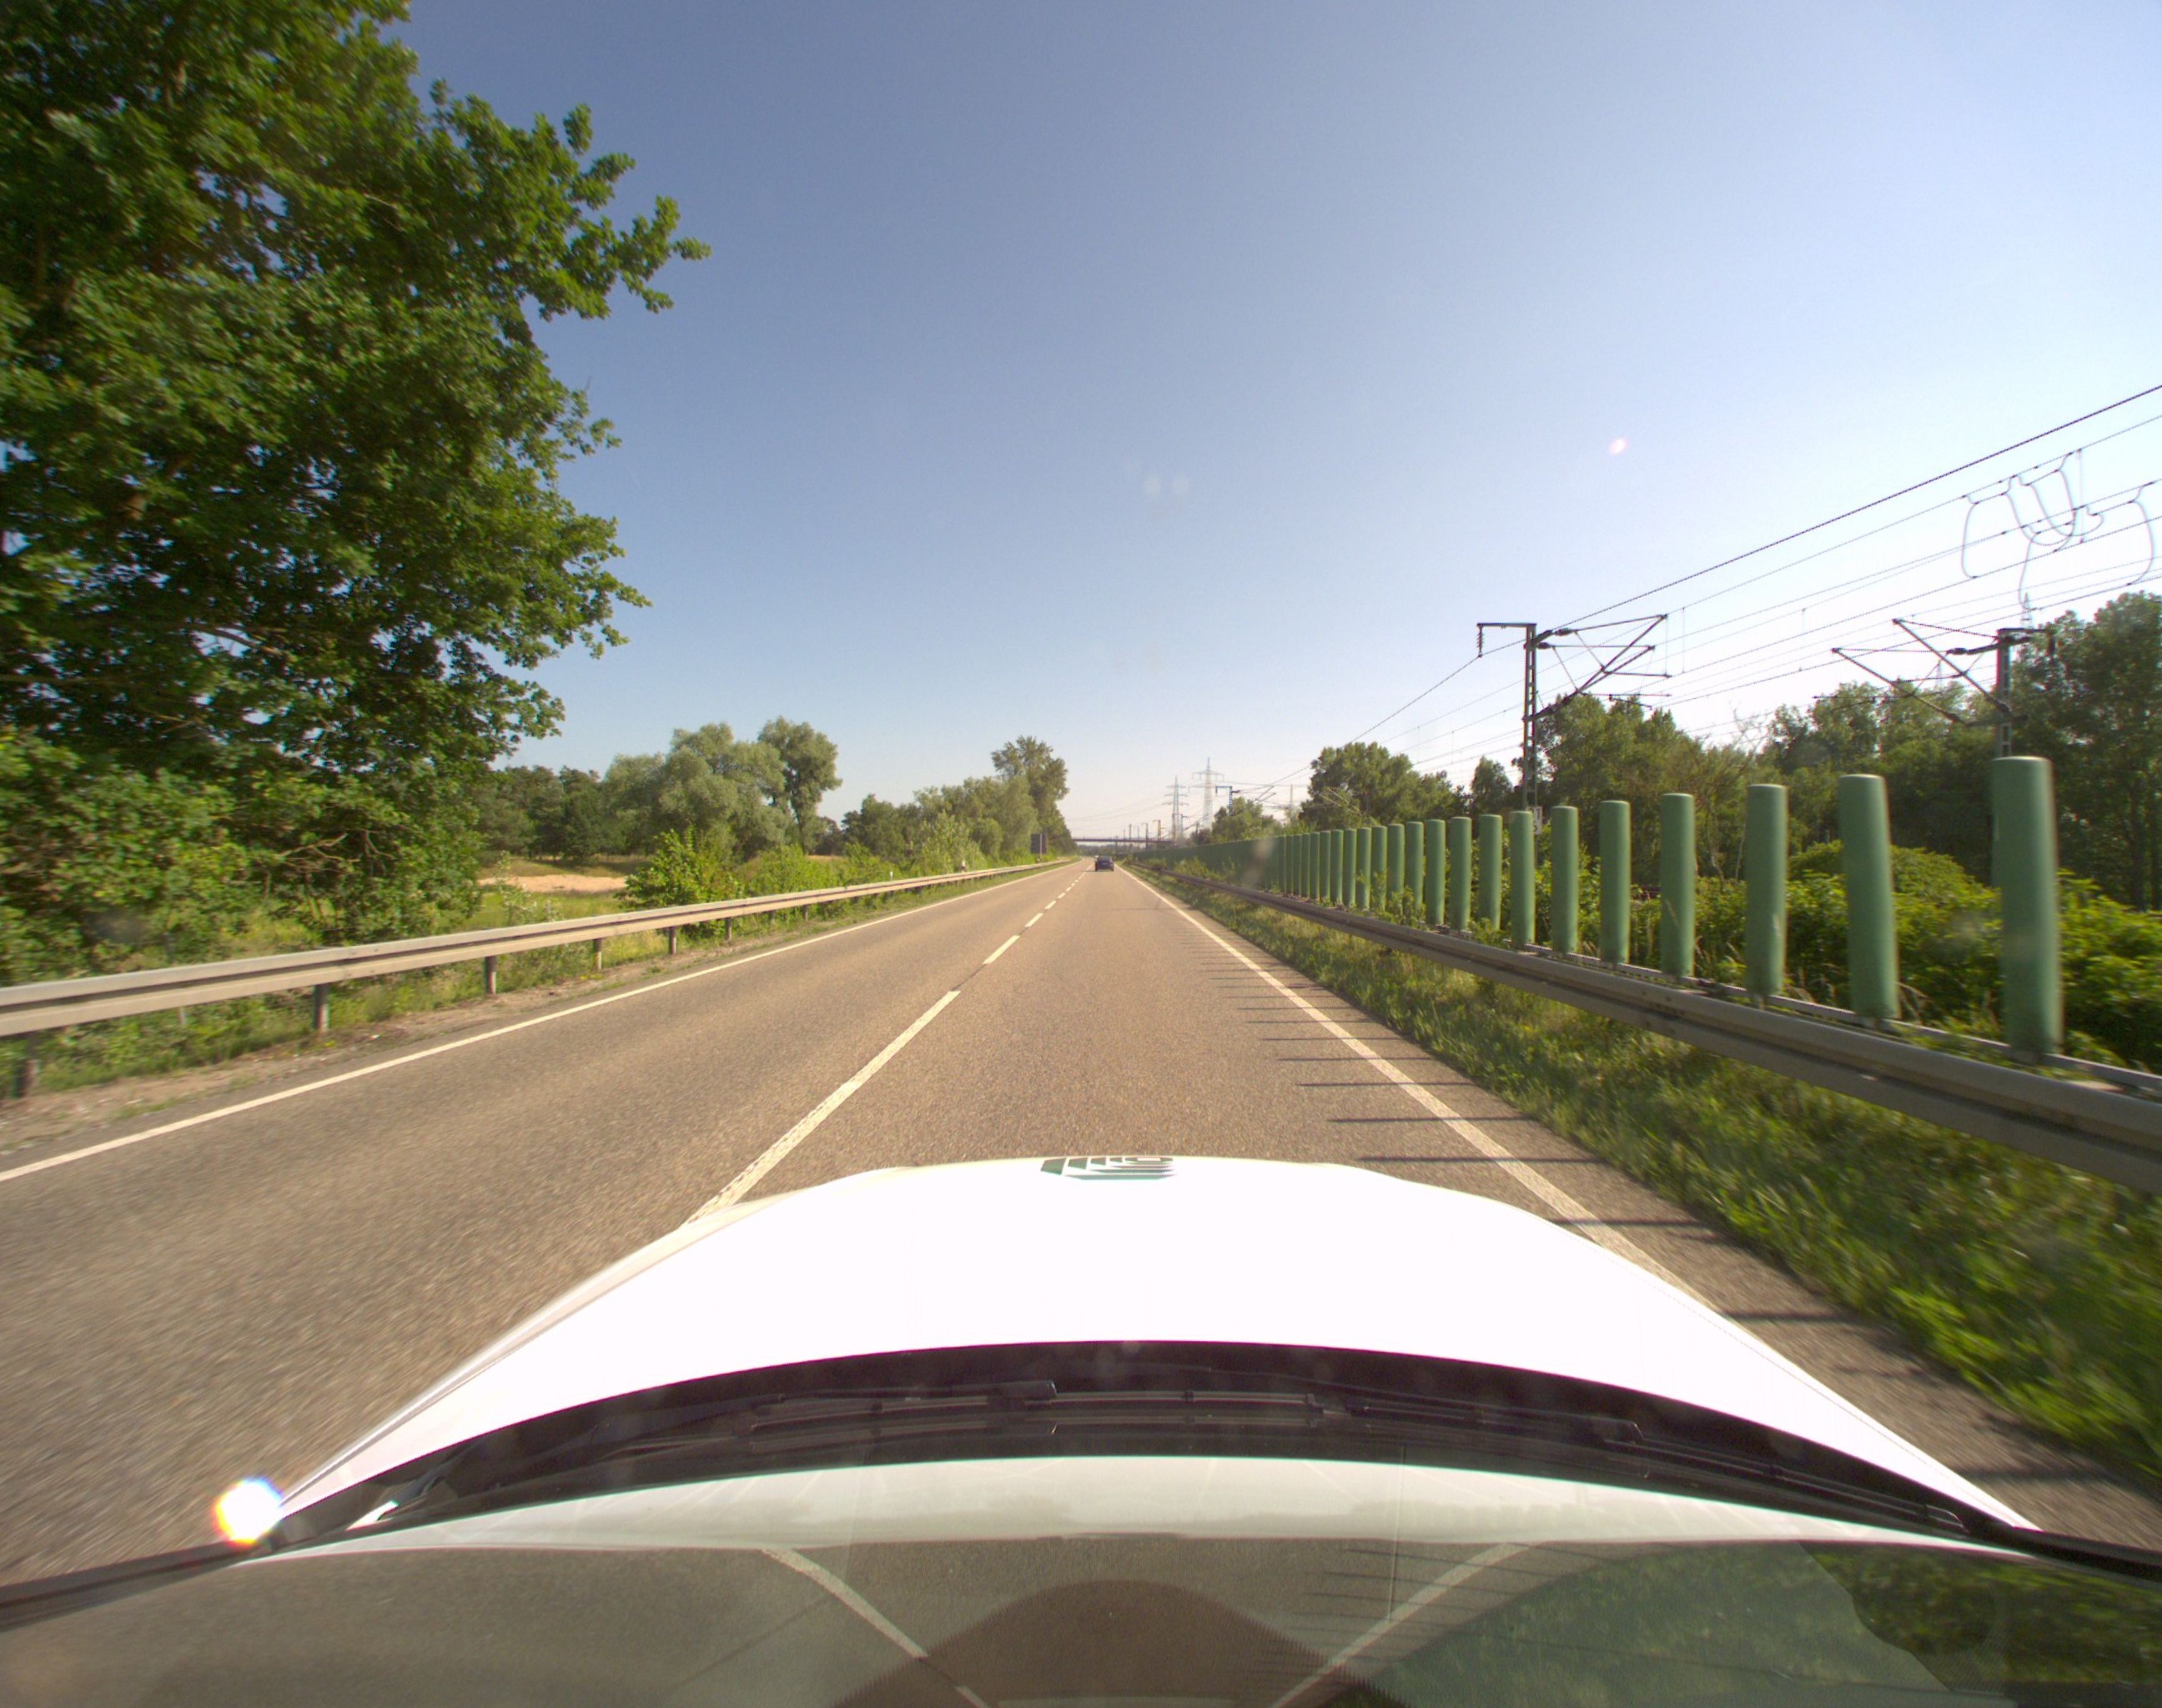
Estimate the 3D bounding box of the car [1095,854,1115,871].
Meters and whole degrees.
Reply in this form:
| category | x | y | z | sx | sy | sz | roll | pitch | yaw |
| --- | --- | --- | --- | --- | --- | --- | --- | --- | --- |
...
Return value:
| category | x | y | z | sx | sy | sz | roll | pitch | yaw |
| --- | --- | --- | --- | --- | --- | --- | --- | --- | --- |
| car | 2.355 | 0.792 | 79.667 | 1.852 | 1.642 | 4.000 | 0 | 0 | 1 |
